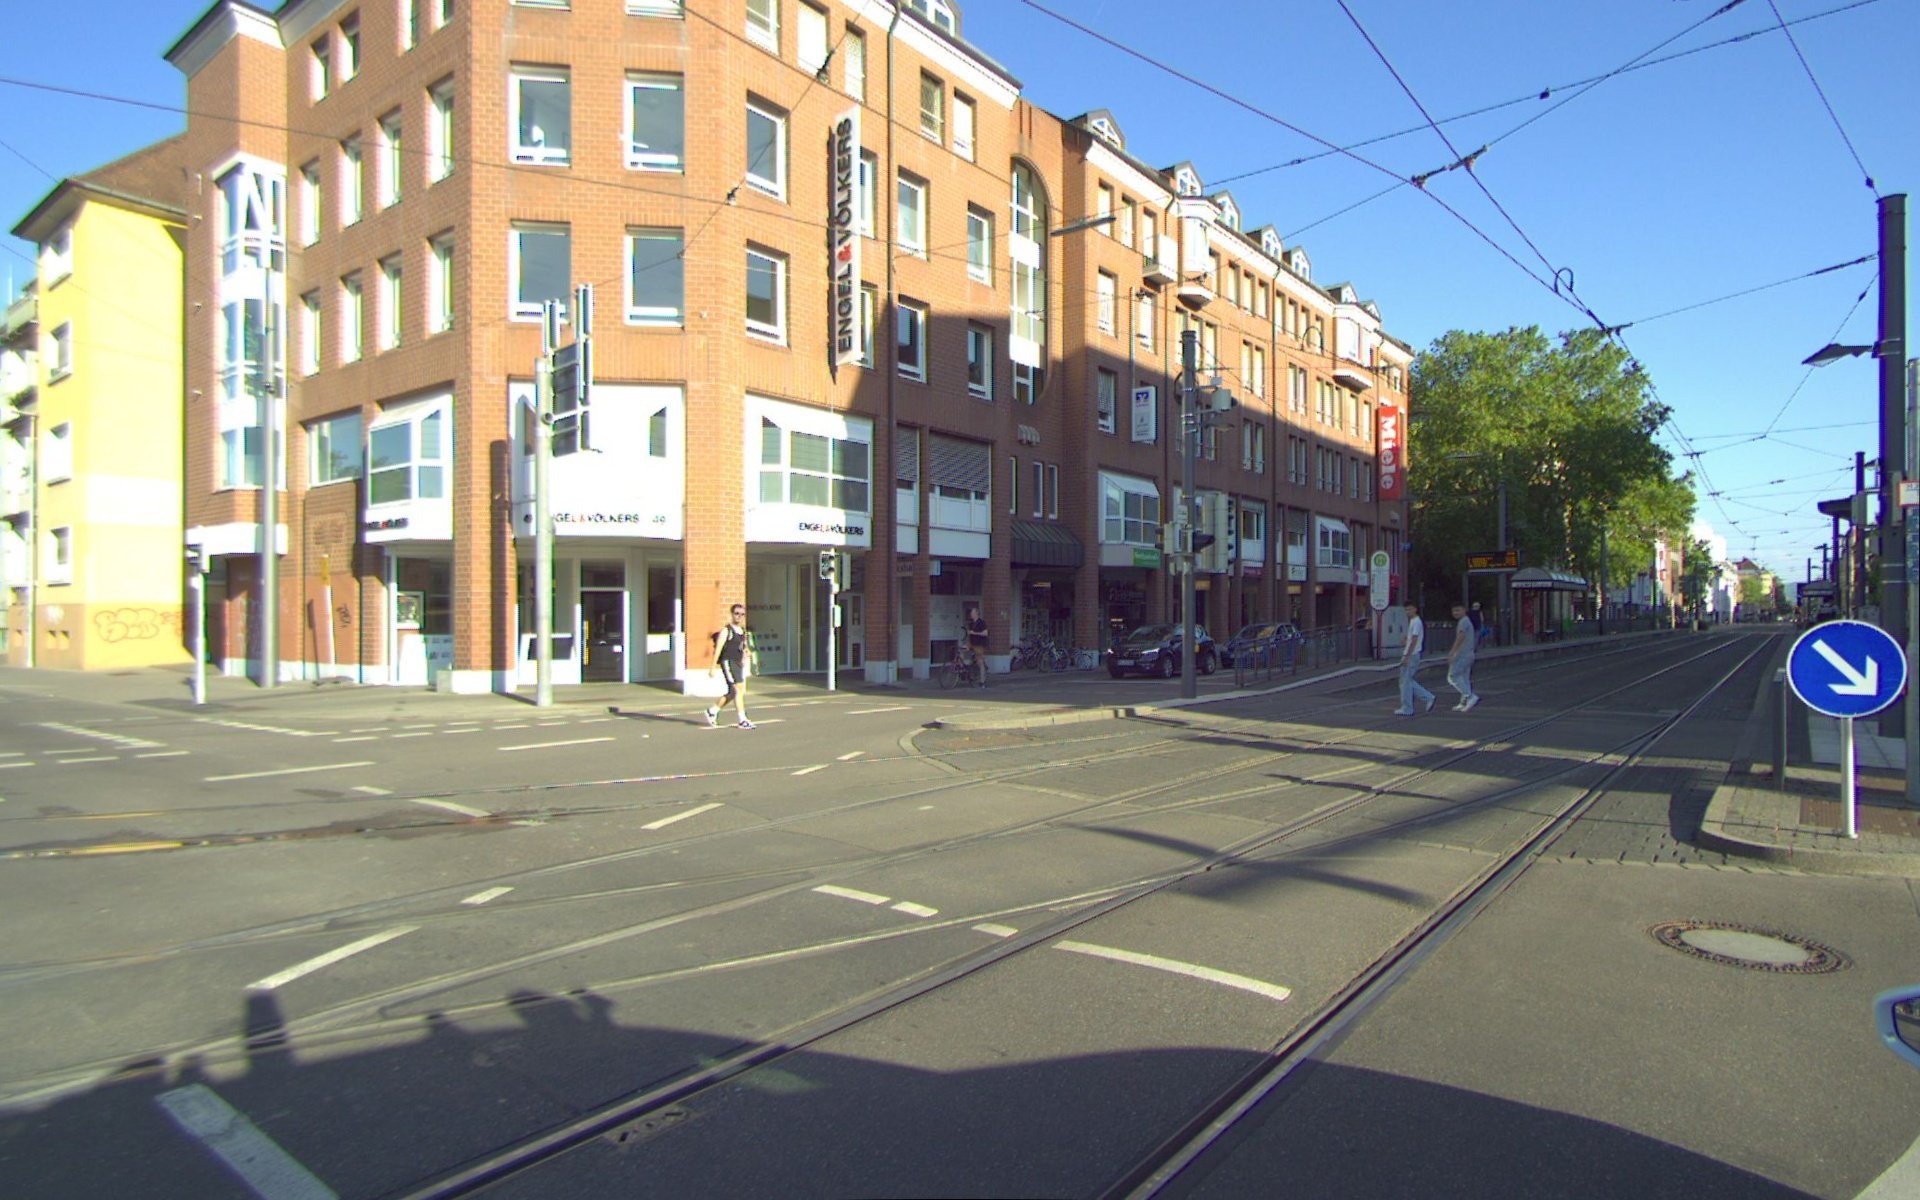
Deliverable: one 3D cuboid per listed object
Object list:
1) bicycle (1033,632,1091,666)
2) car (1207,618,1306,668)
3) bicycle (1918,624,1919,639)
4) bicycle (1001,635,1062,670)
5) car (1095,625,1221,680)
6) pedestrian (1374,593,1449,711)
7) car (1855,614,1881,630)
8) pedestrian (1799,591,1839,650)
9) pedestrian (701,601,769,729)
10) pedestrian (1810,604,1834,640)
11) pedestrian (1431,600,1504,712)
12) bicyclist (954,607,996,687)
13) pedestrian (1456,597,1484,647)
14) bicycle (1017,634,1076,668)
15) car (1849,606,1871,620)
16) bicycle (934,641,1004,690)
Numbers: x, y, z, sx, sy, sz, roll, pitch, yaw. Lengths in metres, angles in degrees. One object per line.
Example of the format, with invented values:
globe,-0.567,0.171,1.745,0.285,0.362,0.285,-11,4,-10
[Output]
bicycle,3.200,1.534,31.592,1.808,0.974,0.541,0,1,39
car,9.983,1.396,33.621,1.725,1.444,3.917,0,1,41
bicycle,64.405,2.049,65.272,3.109,1.006,0.901,-1,1,13
bicycle,2.138,1.569,30.136,1.809,0.974,0.541,-1,1,39
car,5.638,1.433,28.362,1.725,1.261,3.915,0,1,42
pedestrian,6.954,0.788,15.512,0.985,1.788,0.511,0,1,16
car,94.568,2.268,104.684,1.971,1.573,3.978,0,1,42
pedestrian,24.924,0.594,29.144,0.767,1.682,0.682,0,1,30
pedestrian,-3.253,0.907,14.522,0.818,1.781,0.692,-1,1,-24
pedestrian,40.765,1.041,47.507,0.767,1.682,0.682,0,1,30
pedestrian,8.028,0.871,15.901,0.850,1.717,0.624,-1,1,4
bicyclist,0.373,1.145,24.850,0.805,1.904,0.626,-2,1,-44
pedestrian,16.445,0.702,32.393,0.677,1.599,0.622,0,1,15
bicycle,2.631,1.552,30.798,1.808,0.974,0.541,0,1,39
car,109.592,1.606,122.369,1.971,1.573,3.978,0,1,42
bicycle,0.242,1.588,24.721,1.825,1.063,0.626,-2,1,-45
